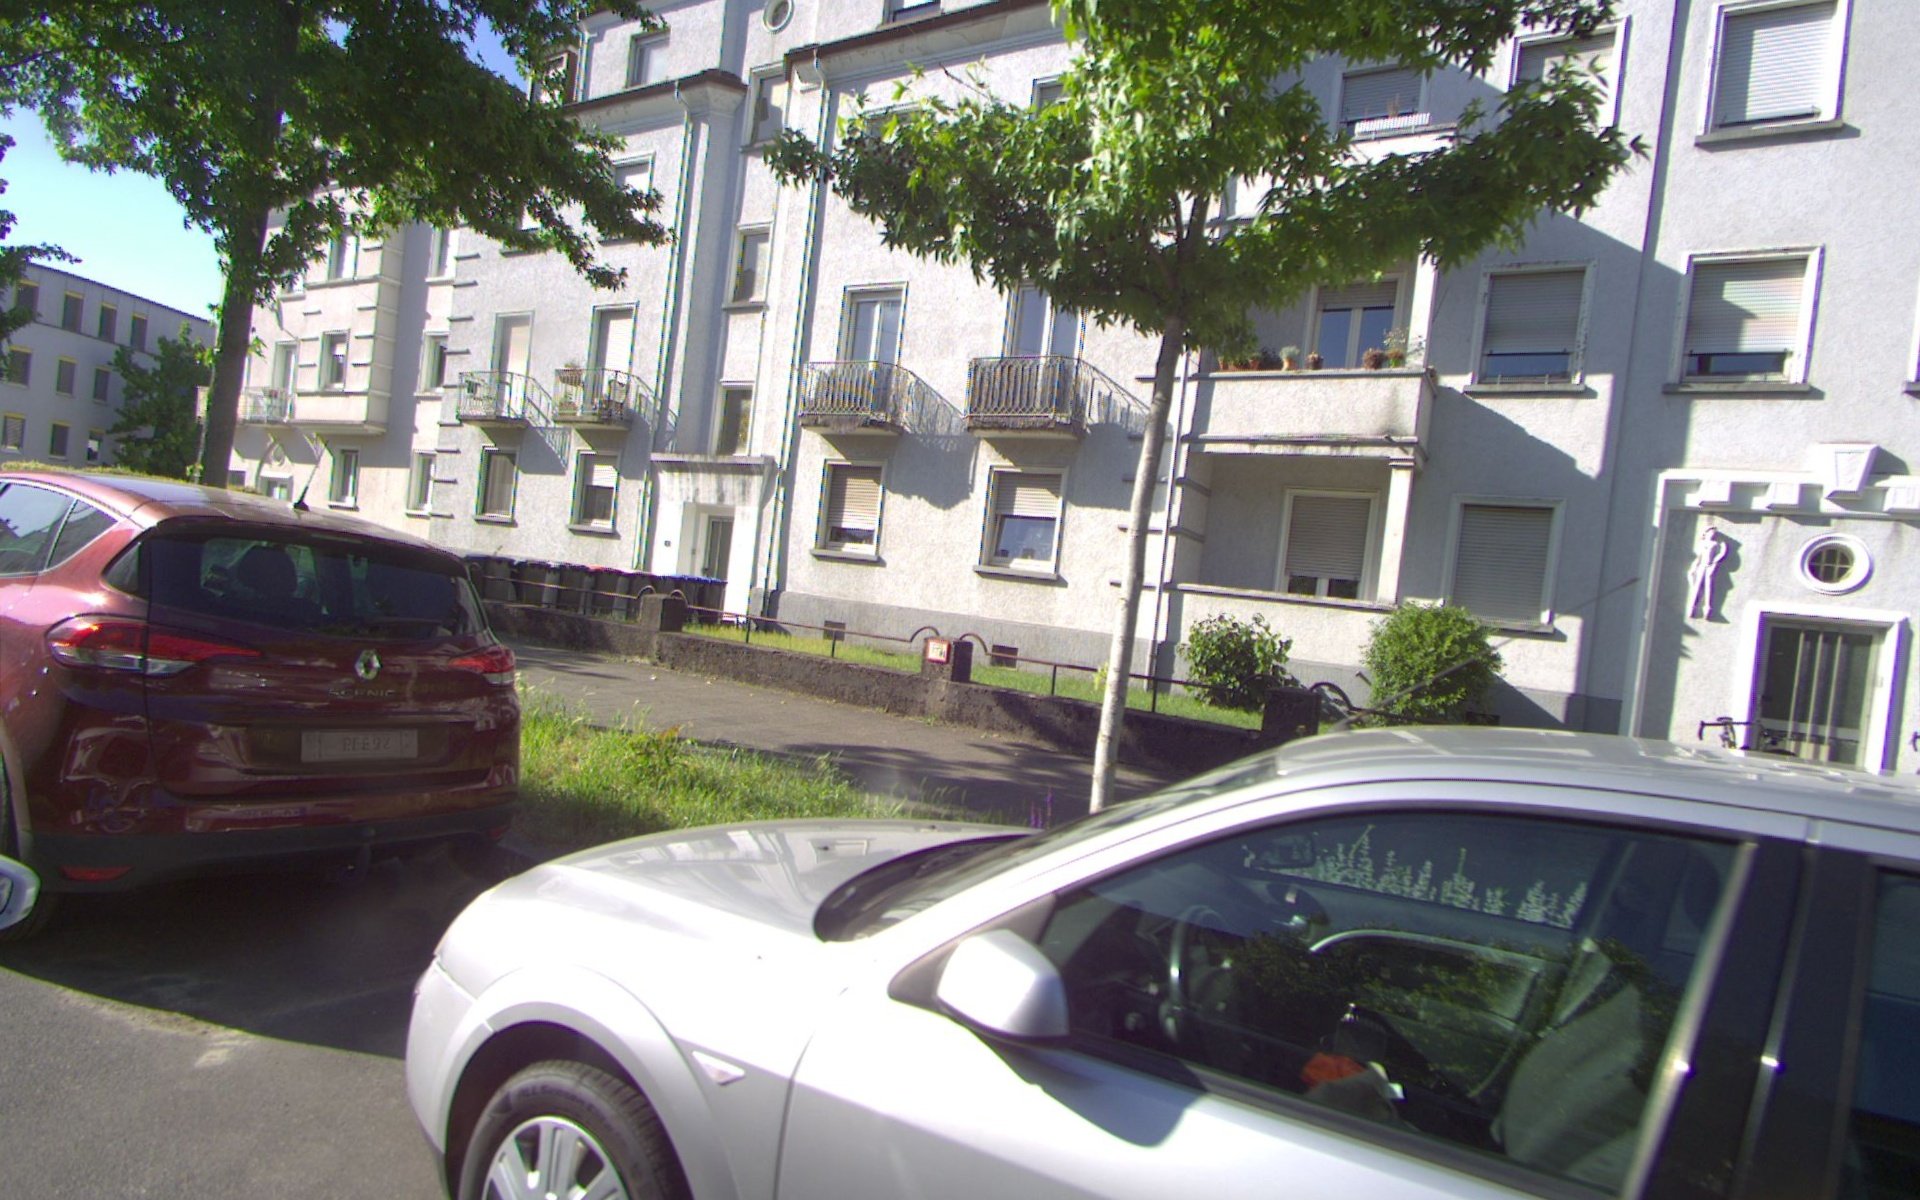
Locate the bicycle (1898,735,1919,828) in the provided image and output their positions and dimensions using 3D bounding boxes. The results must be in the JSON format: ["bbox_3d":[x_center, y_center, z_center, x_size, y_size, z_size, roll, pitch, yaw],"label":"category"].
[{"bbox_3d":[10.634,2.001,10.752,0.550,0.930,2.029,6,1,36],"label":"bicycle"}]

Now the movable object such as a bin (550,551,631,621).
[{"bbox_3d":[-6.295,-0.240,17.131,0.994,1.038,0.776,6,-2,36],"label":"movable object such as a bin"}]

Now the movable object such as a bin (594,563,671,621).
[{"bbox_3d":[-5.805,-0.148,17.817,0.994,0.872,0.776,6,-2,37],"label":"movable object such as a bin"}]

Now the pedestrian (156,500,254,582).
[{"bbox_3d":[-13.766,-1.068,18.364,0.805,1.310,1.084,6,-2,30],"label":"pedestrian"}]

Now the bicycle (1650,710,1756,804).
[{"bbox_3d":[7.583,1.566,10.342,0.616,0.778,2.064,7,-1,32],"label":"bicycle"}]

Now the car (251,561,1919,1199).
[{"bbox_3d":[0.738,0.861,1.848,4.417,1.425,1.712,6,1,32],"label":"car"}]

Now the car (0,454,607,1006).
[{"bbox_3d":[-4.043,0.211,4.895,4.518,1.588,1.930,6,2,32],"label":"car"}]
